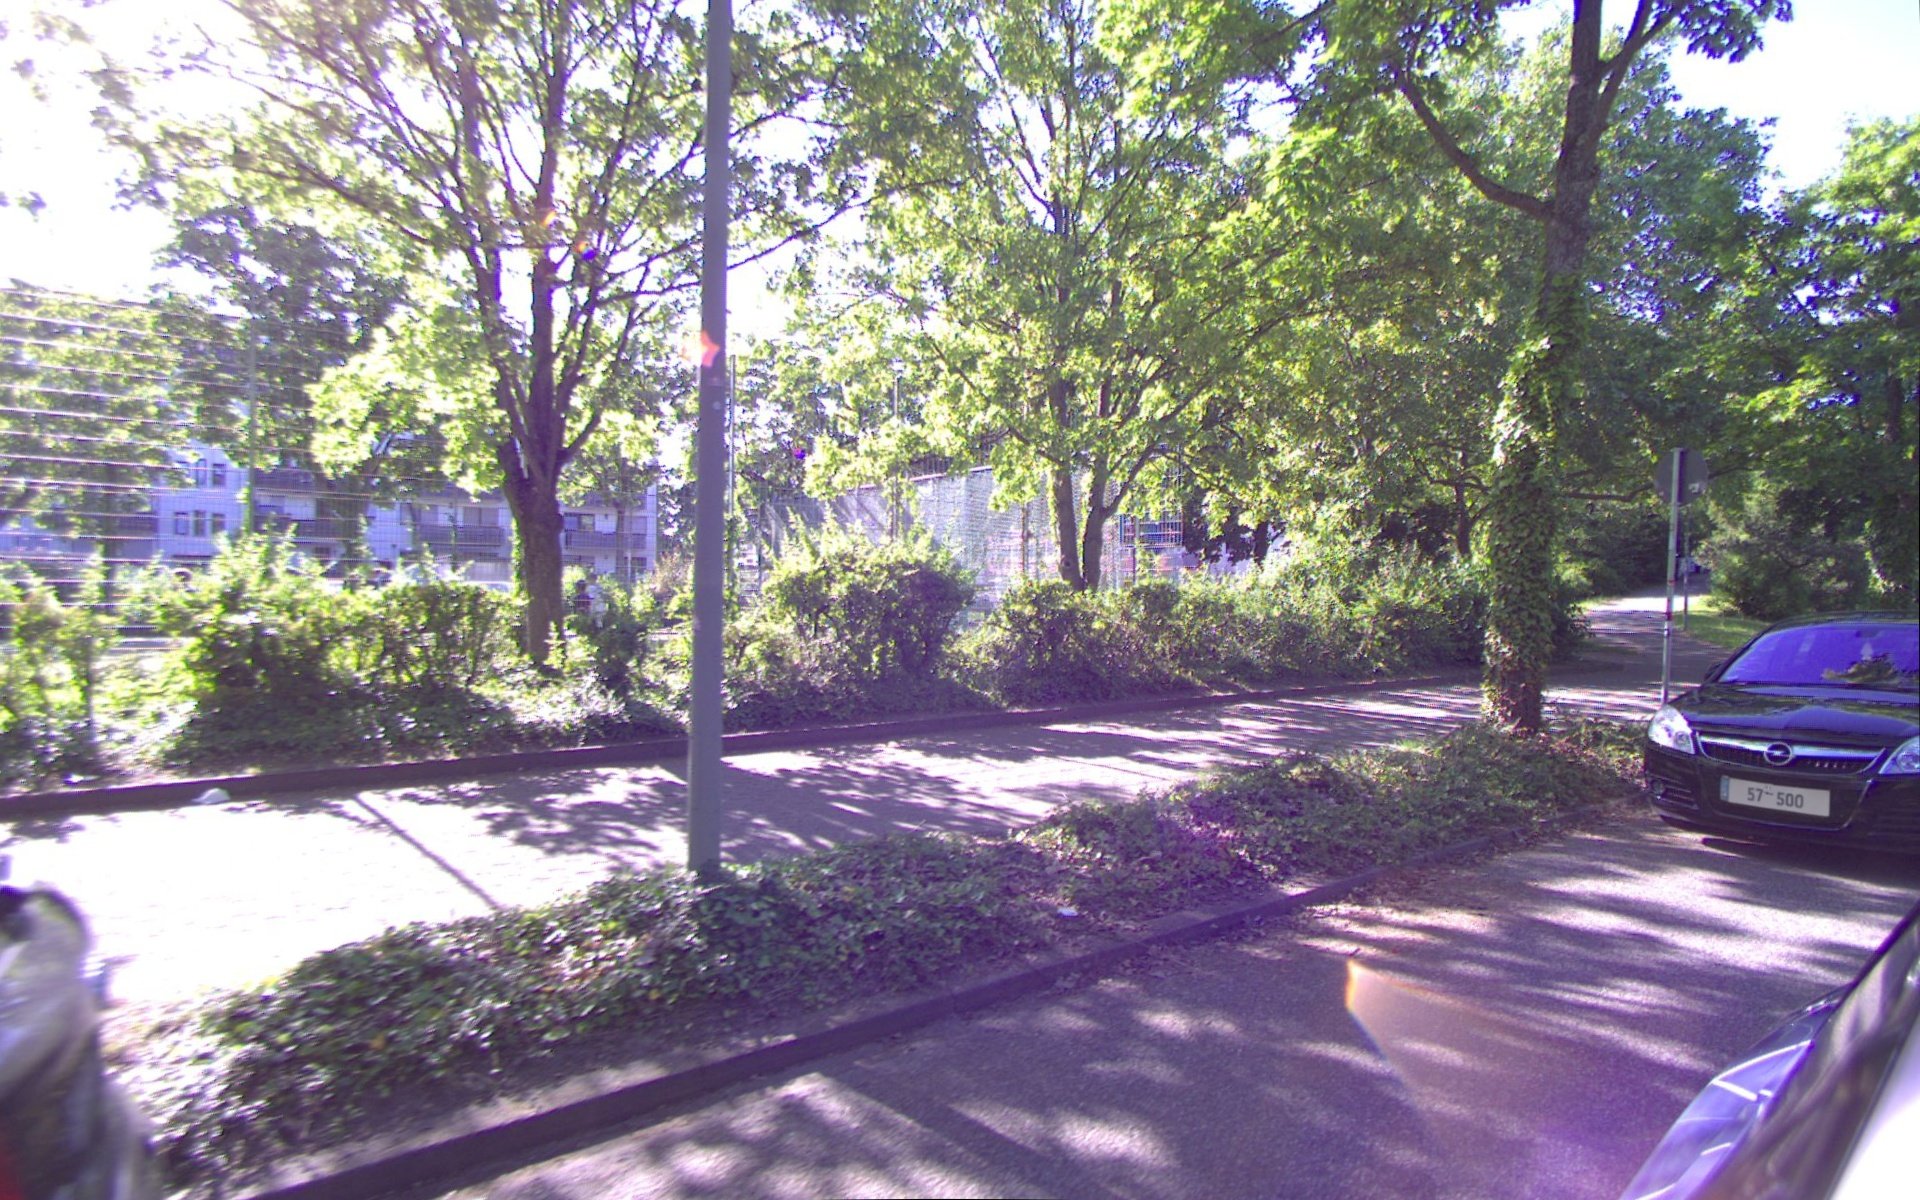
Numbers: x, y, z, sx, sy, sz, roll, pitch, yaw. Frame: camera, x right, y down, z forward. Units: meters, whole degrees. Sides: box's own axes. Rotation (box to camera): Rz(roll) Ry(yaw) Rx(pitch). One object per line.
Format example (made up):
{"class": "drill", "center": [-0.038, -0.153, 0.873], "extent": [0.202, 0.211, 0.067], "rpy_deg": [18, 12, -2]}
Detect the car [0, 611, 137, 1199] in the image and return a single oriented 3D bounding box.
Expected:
{"class": "car", "center": [-2.686, 0.730, 0.169], "extent": [3.928, 1.438, 1.643], "rpy_deg": [0, -1, -40]}

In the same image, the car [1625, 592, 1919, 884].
{"class": "car", "center": [6.298, 0.701, 6.757], "extent": [3.954, 1.499, 1.754], "rpy_deg": [-1, 0, -35]}

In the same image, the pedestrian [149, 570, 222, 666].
{"class": "pedestrian", "center": [-10.346, 0.243, 13.527], "extent": [0.535, 1.256, 0.561], "rpy_deg": [-1, -1, 3]}
